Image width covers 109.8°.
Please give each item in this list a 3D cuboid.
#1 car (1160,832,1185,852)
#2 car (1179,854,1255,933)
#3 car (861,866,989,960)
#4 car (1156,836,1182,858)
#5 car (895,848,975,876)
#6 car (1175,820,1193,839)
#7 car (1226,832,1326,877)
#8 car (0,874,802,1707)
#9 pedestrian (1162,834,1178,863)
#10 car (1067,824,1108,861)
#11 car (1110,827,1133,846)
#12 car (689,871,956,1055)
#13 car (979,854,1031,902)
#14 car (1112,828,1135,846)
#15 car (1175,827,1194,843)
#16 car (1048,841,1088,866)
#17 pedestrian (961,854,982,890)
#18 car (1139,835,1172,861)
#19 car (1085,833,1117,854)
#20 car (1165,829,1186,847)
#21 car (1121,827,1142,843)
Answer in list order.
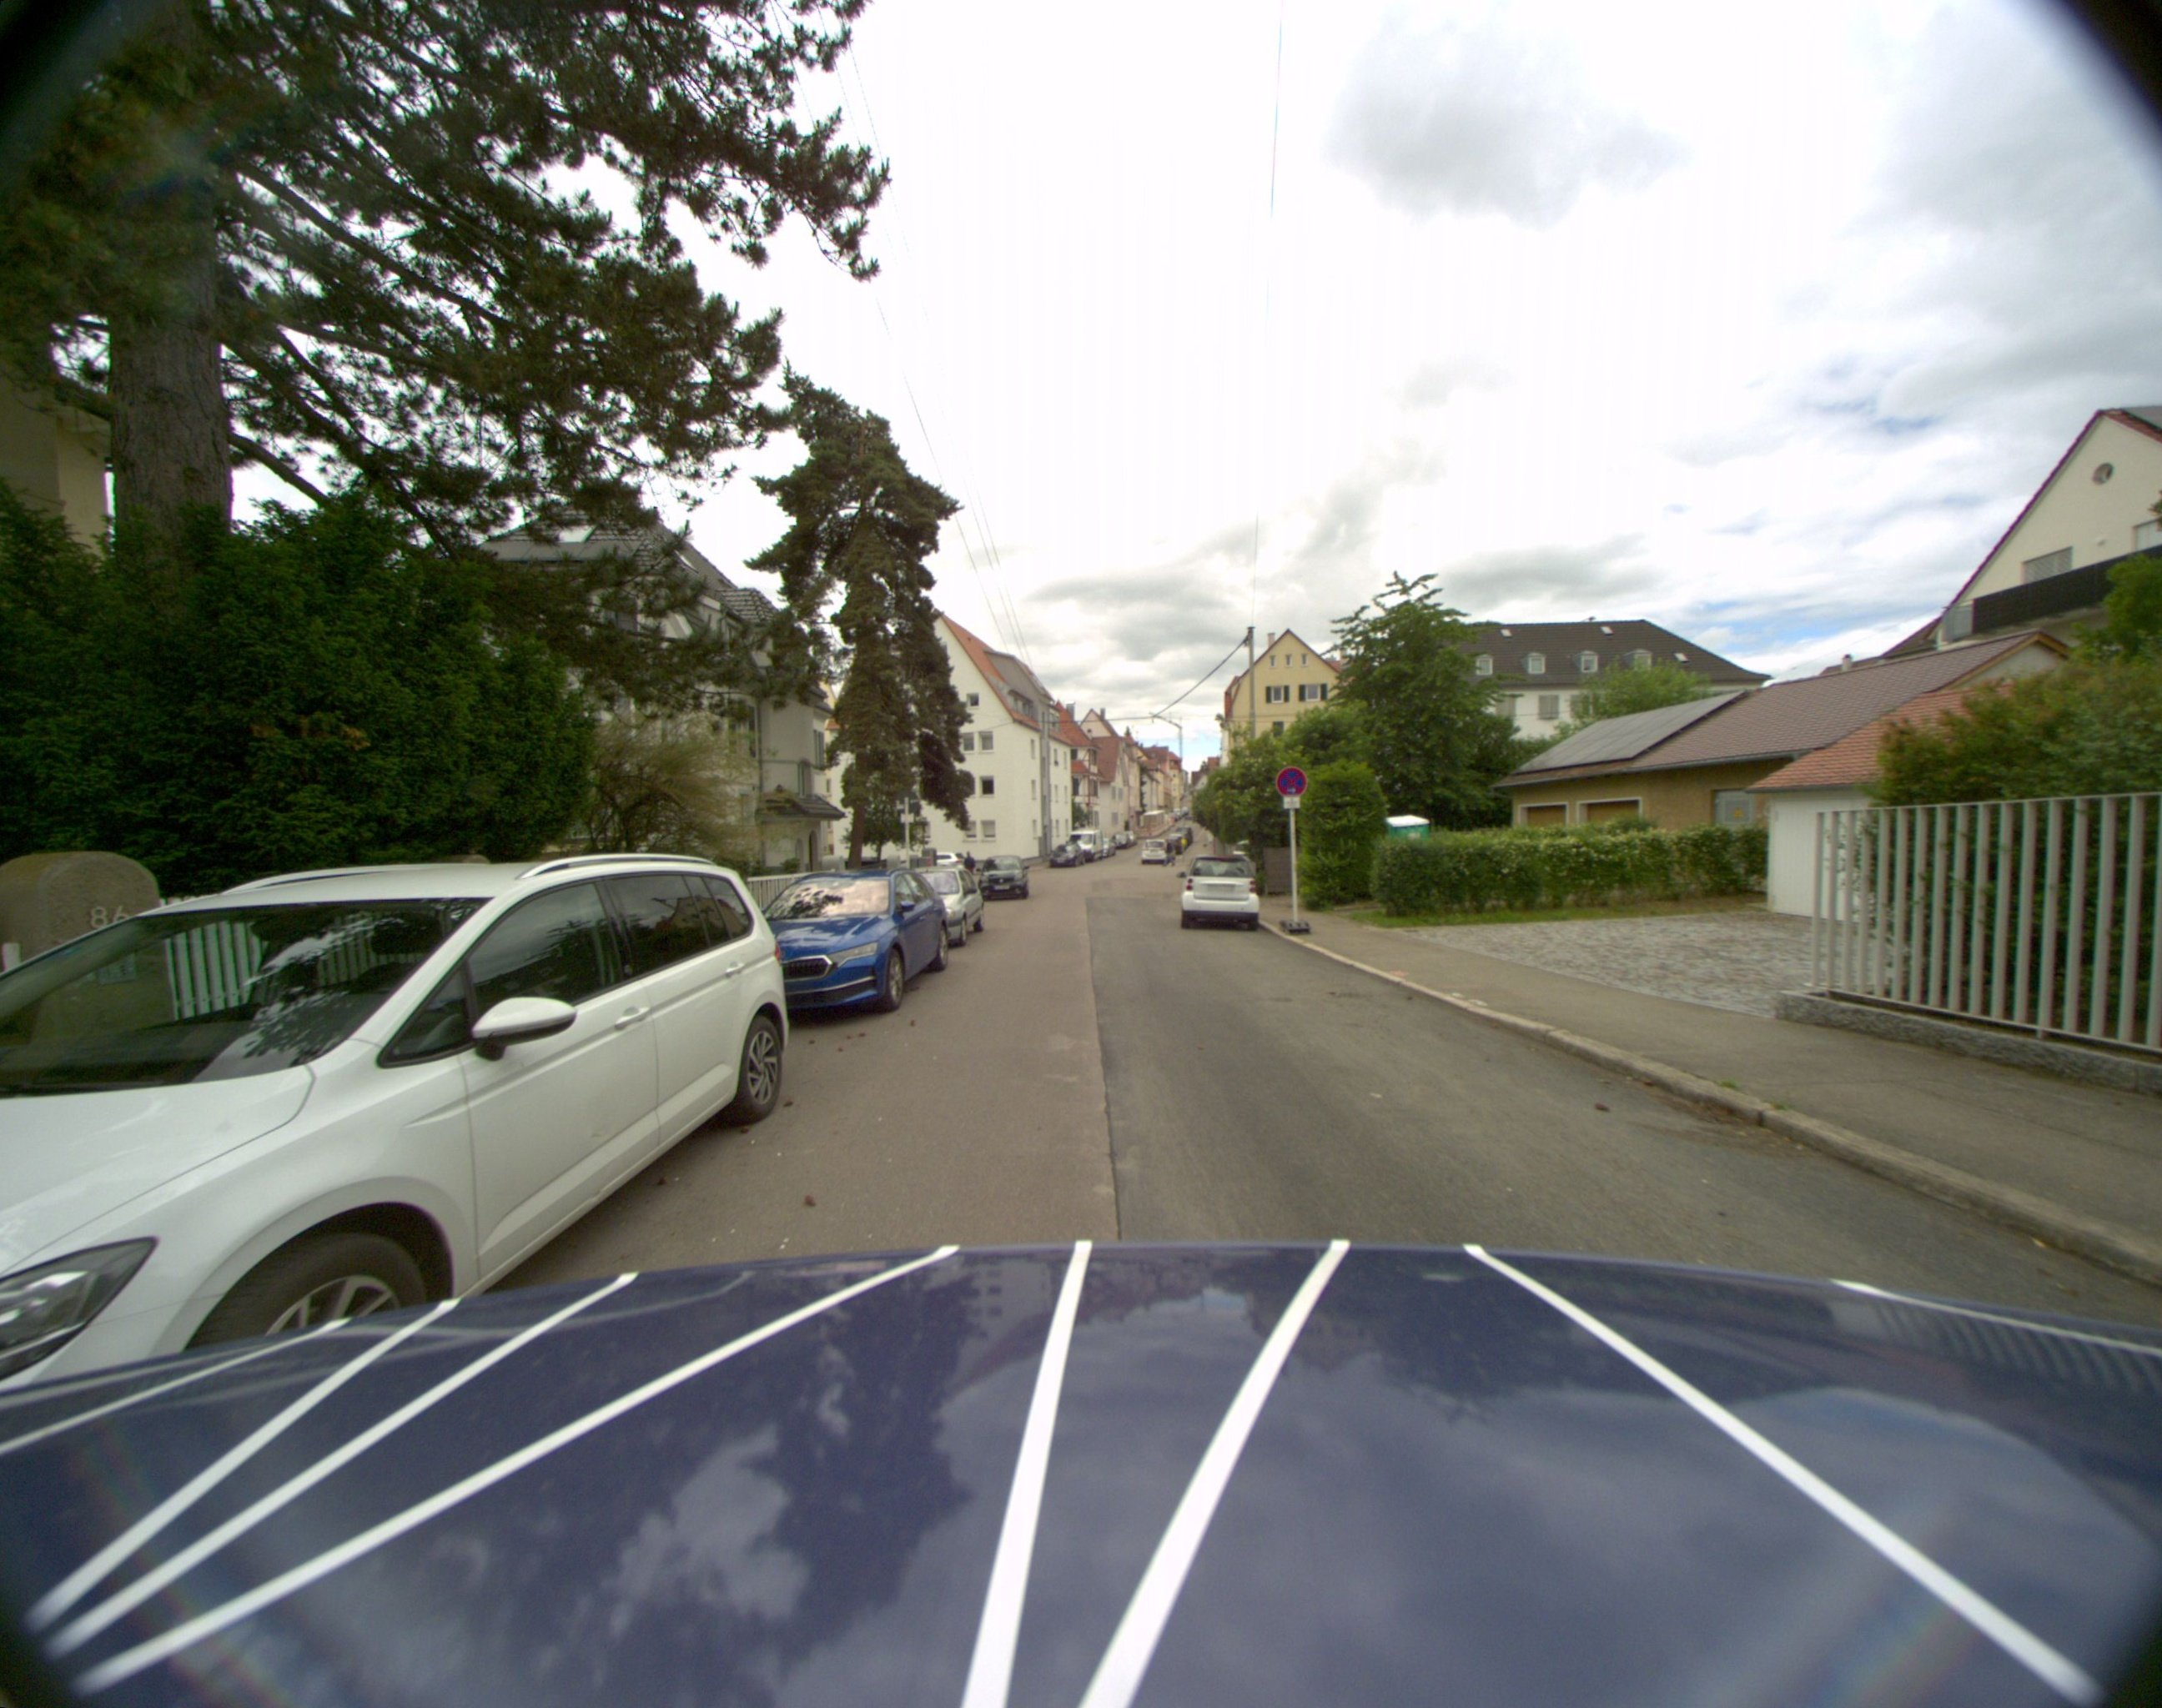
[{"bbox_3d":[7.896,-1.067,65.237,1.805,1.472,4.329,0,4,11],"label":"car"},{"bbox_3d":[2.906,0.786,16.682,1.445,1.543,2.771,2,1,7],"label":"car"},{"bbox_3d":[-2.813,1.015,14.486,1.578,1.392,3.655,-3,0,1],"label":"car"},{"bbox_3d":[6.609,-0.521,56.984,1.609,1.445,3.615,2,4,11],"label":"car"},{"bbox_3d":[-8.760,0.481,45.763,4.352,1.441,1.765,-2,1,13],"label":"car"},{"bbox_3d":[10.876,-2.577,79.870,1.752,1.788,4.149,0,5,9],"label":"car"},{"bbox_3d":[8.869,-0.003,34.367,4.521,1.646,1.830,-5,3,-36],"label":"car"},{"bbox_3d":[-2.804,0.991,2.993,1.789,1.594,4.303,-3,0,-1],"label":"car"},{"bbox_3d":[5.434,-0.340,46.319,0.822,1.750,0.643,-3,2,-2],"label":"pedestrian"},{"bbox_3d":[0.542,-0.914,56.761,1.996,2.409,5.294,0,4,12],"label":"car"},{"bbox_3d":[3.965,-1.728,73.499,1.780,1.711,4.001,-1,2,10],"label":"car"},{"bbox_3d":[-2.692,1.043,8.958,1.651,1.450,4.051,-3,1,0],"label":"car"},{"bbox_3d":[-2.657,0.820,27.162,1.576,1.523,2.867,-4,1,-2],"label":"car"},{"bbox_3d":[4.118,-1.669,73.430,1.607,1.482,4.024,-2,4,11],"label":"car"},{"bbox_3d":[10.174,-1.864,74.739,1.641,1.391,3.704,0,4,11],"label":"car"},{"bbox_3d":[-0.815,-0.068,50.864,1.821,1.478,4.288,-1,2,10],"label":"car"},{"bbox_3d":[-4.881,0.787,33.932,0.682,1.568,0.906,1,3,6],"label":"pedestrian"},{"bbox_3d":[5.137,-0.427,52.096,1.807,1.650,4.153,0,2,11],"label":"car"},{"bbox_3d":[1.681,-0.861,62.768,1.827,1.437,4.384,-2,4,13],"label":"car"},{"bbox_3d":[8.866,-1.520,70.742,1.641,1.421,4.124,1,5,11],"label":"car"},{"bbox_3d":[5.221,-2.012,78.438,1.628,1.385,4.237,-2,4,11],"label":"car"}]
